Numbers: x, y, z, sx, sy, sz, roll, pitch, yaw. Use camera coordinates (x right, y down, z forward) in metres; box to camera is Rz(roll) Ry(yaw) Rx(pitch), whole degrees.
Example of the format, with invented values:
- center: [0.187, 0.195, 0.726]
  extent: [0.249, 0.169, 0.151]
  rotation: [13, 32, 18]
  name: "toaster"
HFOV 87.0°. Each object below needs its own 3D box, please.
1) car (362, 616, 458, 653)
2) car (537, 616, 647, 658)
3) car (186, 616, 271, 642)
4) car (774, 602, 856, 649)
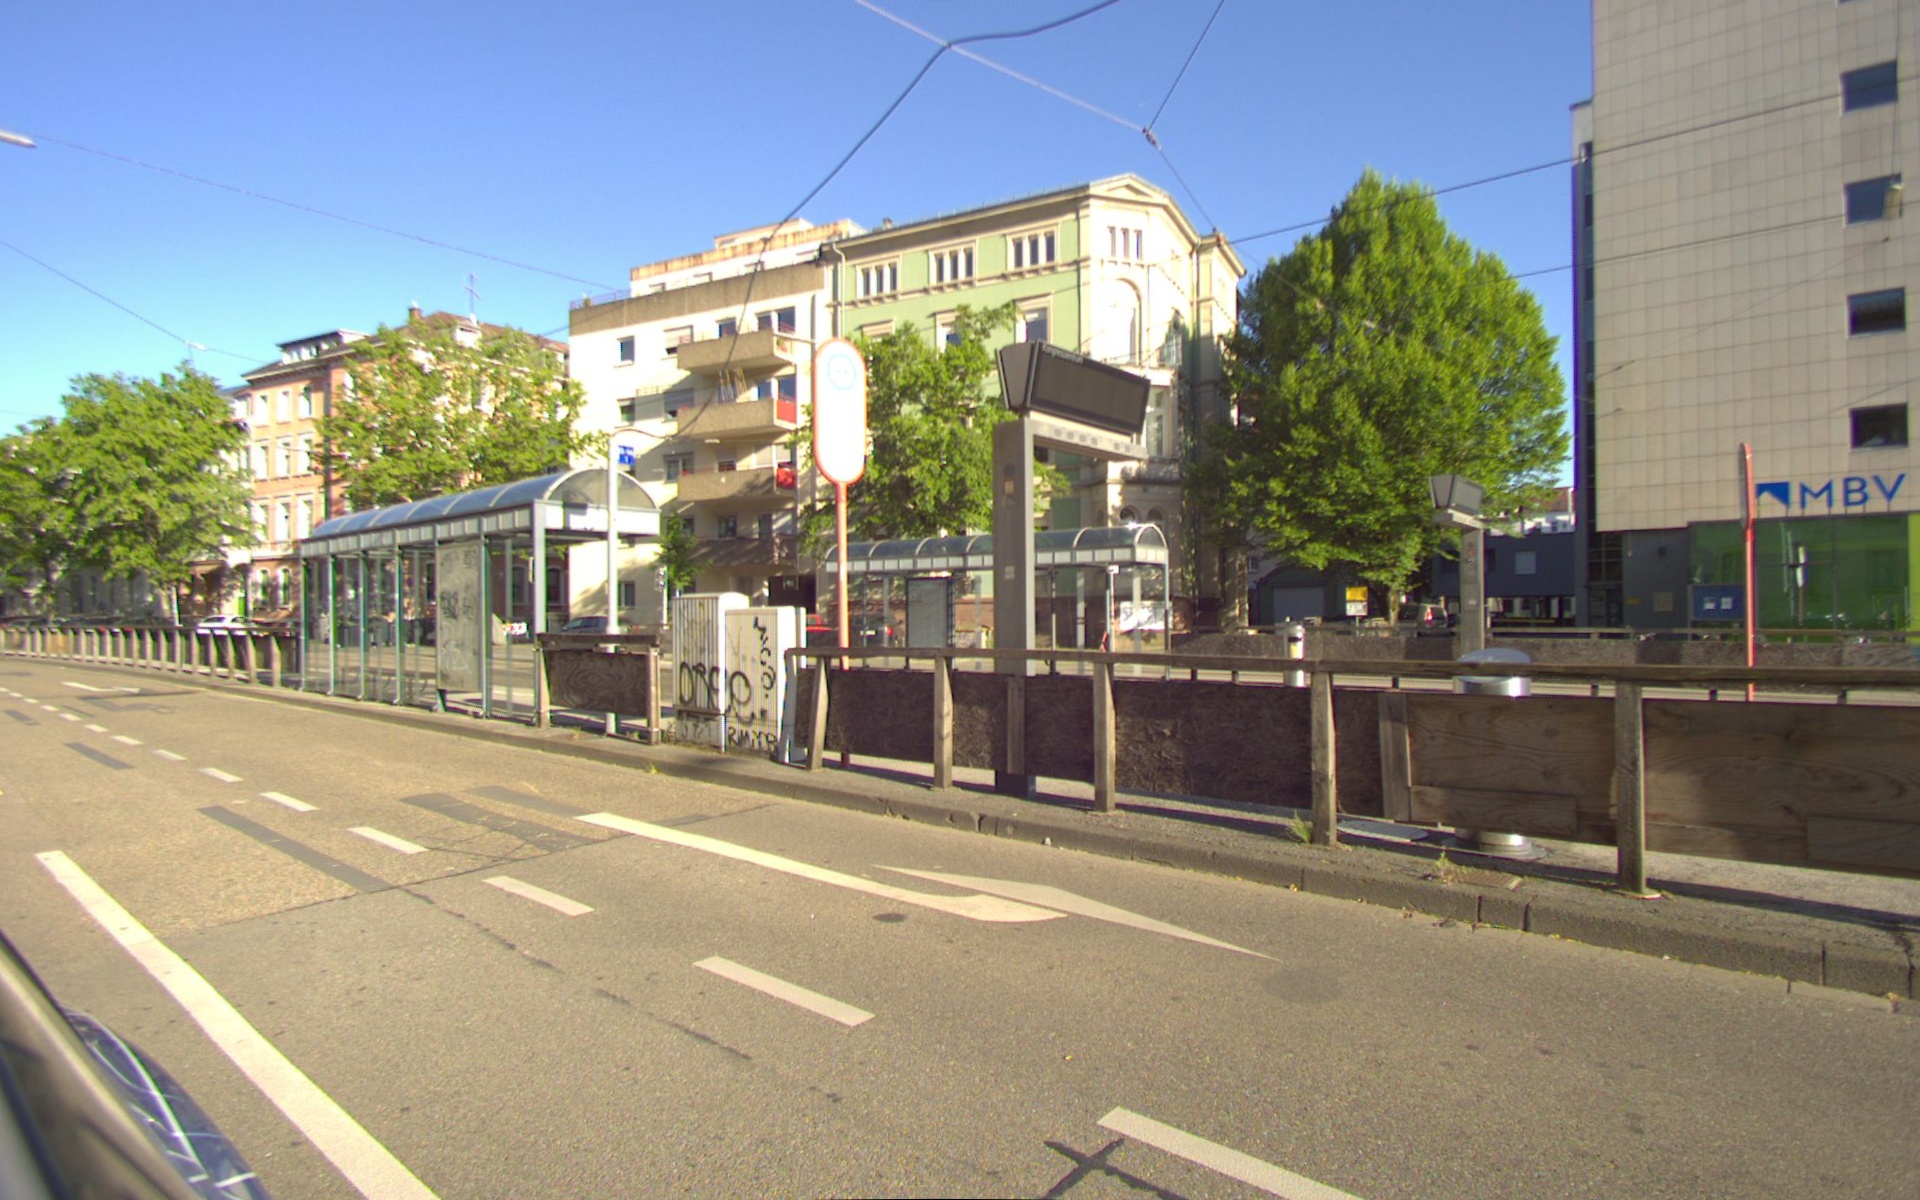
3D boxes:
- center: [-23.791, 1.461, 43.754]
  extent: [3.987, 1.541, 1.978]
  rotation: [-1, -2, 32]
  name: "car"
- center: [-14.100, 1.383, 38.734]
  extent: [3.987, 1.541, 1.978]
  rotation: [-1, -2, 32]
  name: "car"
- center: [-39.094, 1.539, 54.153]
  extent: [1.565, 1.360, 3.631]
  rotation: [0, -1, 11]
  name: "car"
- center: [-6.535, 1.159, 46.051]
  extent: [1.791, 2.029, 3.963]
  rotation: [-1, -1, 27]
  name: "car"
